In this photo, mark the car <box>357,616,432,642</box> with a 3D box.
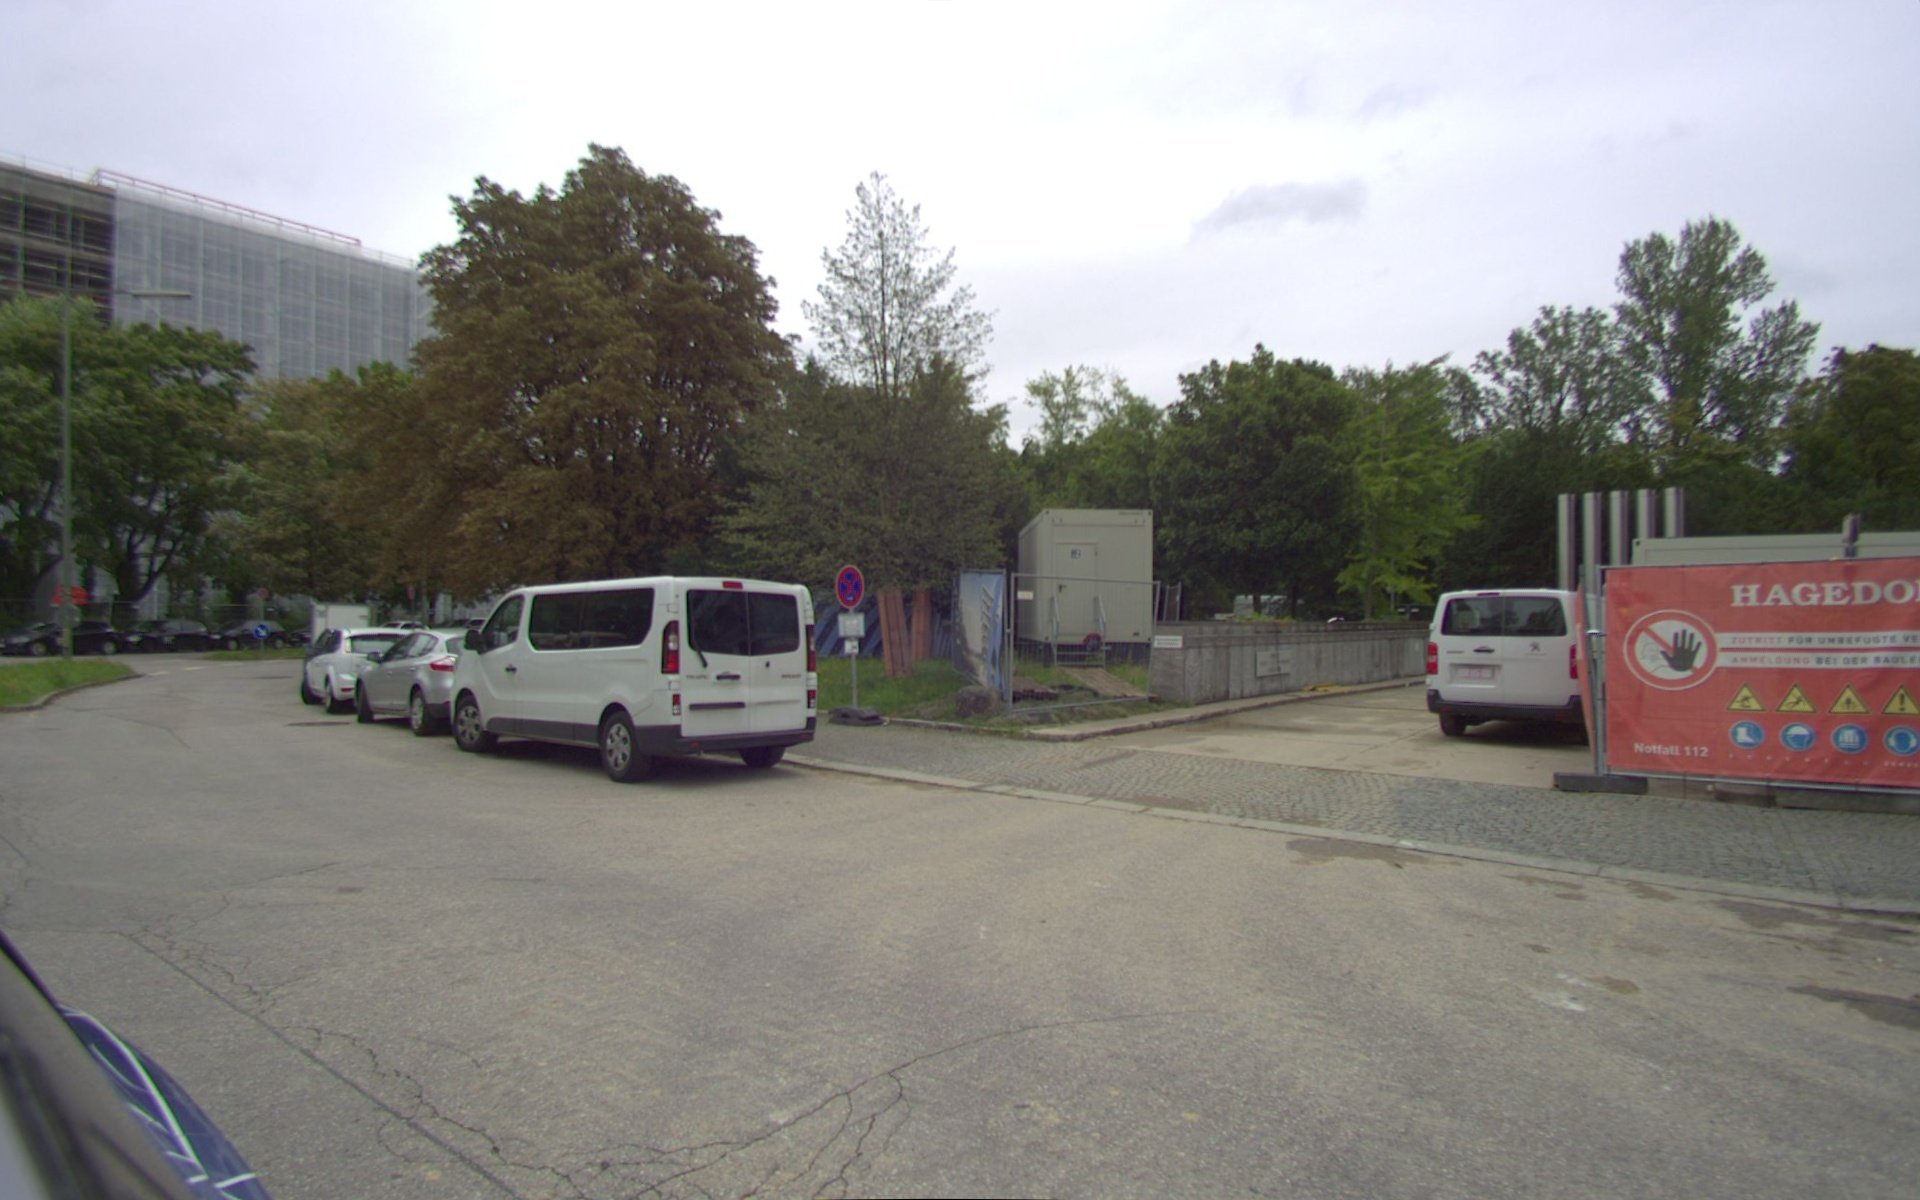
[{"bbox_3d":[-31.990,1.655,57.358,1.507,1.397,3.701,1,-1,15],"label":"car"}]

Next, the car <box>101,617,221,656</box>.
[{"bbox_3d":[-34.426,1.562,43.746,1.770,1.584,3.874,1,-1,10],"label":"car"}]

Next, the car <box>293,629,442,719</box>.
[{"bbox_3d":[-11.090,1.318,18.825,1.715,1.470,4.038,4,-4,-39],"label":"car"}]

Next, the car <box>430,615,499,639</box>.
[{"bbox_3d":[-30.262,1.677,61.910,1.511,1.397,3.692,1,-1,22],"label":"car"}]

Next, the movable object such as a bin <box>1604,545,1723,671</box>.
[{"bbox_3d":[22.246,0.280,31.938,2.580,3.655,4.540,-1,-2,41],"label":"movable object such as a bin"}]

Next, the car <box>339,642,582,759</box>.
[{"bbox_3d":[-7.545,1.391,15.126,4.121,1.470,1.971,-2,-4,44],"label":"car"}]

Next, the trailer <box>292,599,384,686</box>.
[{"bbox_3d":[-16.639,1.132,27.192,1.752,2.198,2.785,2,-3,-26],"label":"trailer"}]

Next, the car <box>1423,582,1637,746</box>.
[{"bbox_3d":[8.002,0.789,13.988,1.781,1.879,4.652,-2,-2,39],"label":"car"}]

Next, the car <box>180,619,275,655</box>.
[{"bbox_3d":[-34.210,1.721,47.343,1.645,1.584,3.246,1,-1,16],"label":"car"}]

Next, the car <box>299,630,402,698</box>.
[{"bbox_3d":[-14.027,1.427,23.204,1.667,1.423,3.804,3,-4,-36],"label":"car"}]

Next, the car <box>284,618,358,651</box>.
[{"bbox_3d":[-33.009,1.770,52.325,1.509,1.584,2.894,1,-1,19],"label":"car"}]

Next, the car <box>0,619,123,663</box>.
[{"bbox_3d":[-35.173,1.573,39.256,1.773,1.584,3.867,1,-1,15],"label":"car"}]

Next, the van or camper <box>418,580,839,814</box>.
[{"bbox_3d":[-3.987,0.970,11.500,5.584,2.050,1.968,-2,-4,42],"label":"van or camper"}]
